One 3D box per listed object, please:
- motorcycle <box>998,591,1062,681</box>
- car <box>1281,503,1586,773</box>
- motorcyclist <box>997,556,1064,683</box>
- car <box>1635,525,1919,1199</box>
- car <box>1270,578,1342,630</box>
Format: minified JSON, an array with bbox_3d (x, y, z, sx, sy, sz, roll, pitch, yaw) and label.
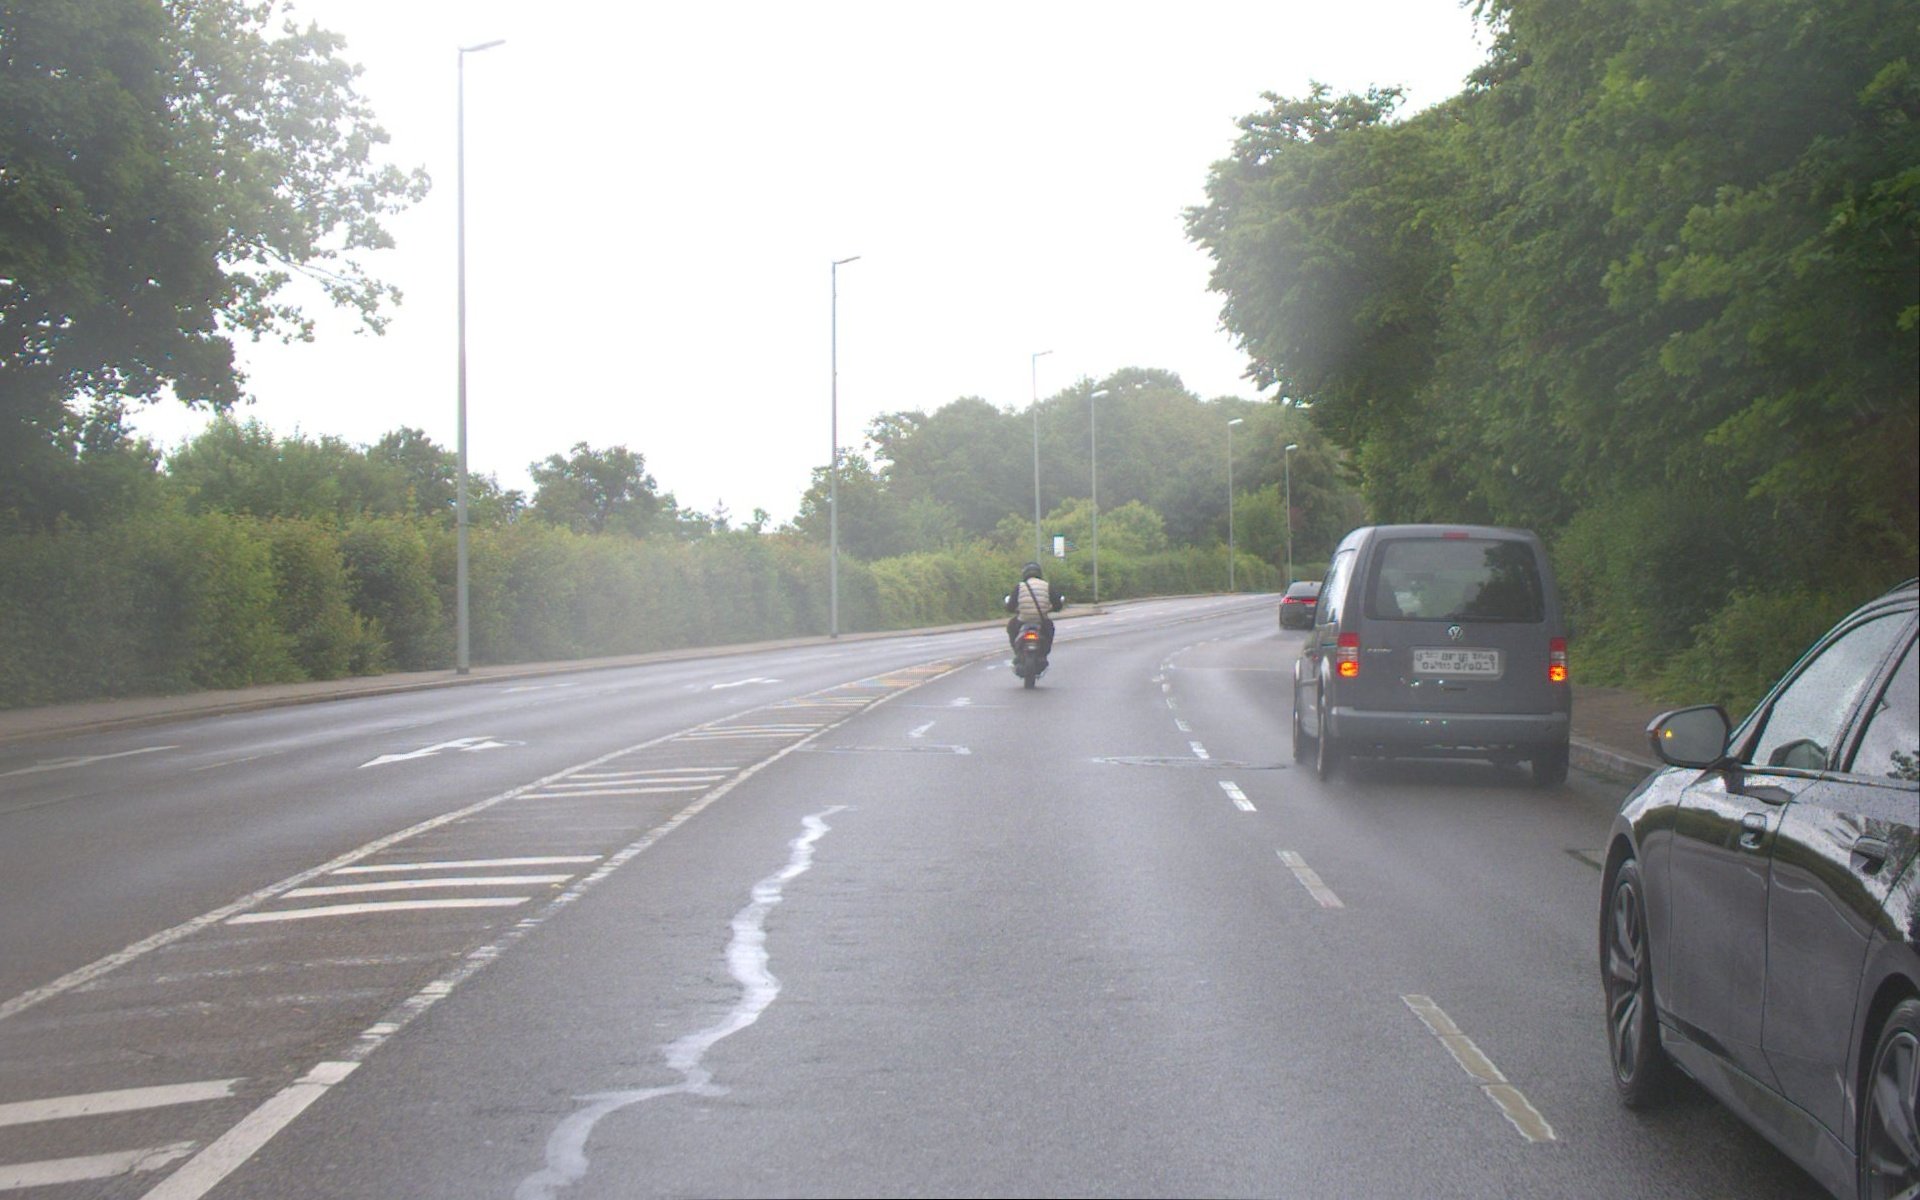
[{"bbox_3d":[0.919,0.464,44.913,0.741,1.115,1.426,1,2,4],"label":"motorcycle"},{"bbox_3d":[3.404,0.203,25.346,1.767,1.803,3.905,0,2,1],"label":"car"},{"bbox_3d":[0.925,0.251,44.906,0.845,1.641,0.468,0,2,5],"label":"motorcyclist"},{"bbox_3d":[2.609,0.620,7.096,1.764,1.531,3.673,0,1,1],"label":"car"},{"bbox_3d":[10.512,0.100,104.223,2.015,1.410,4.485,1,2,8],"label":"car"}]
